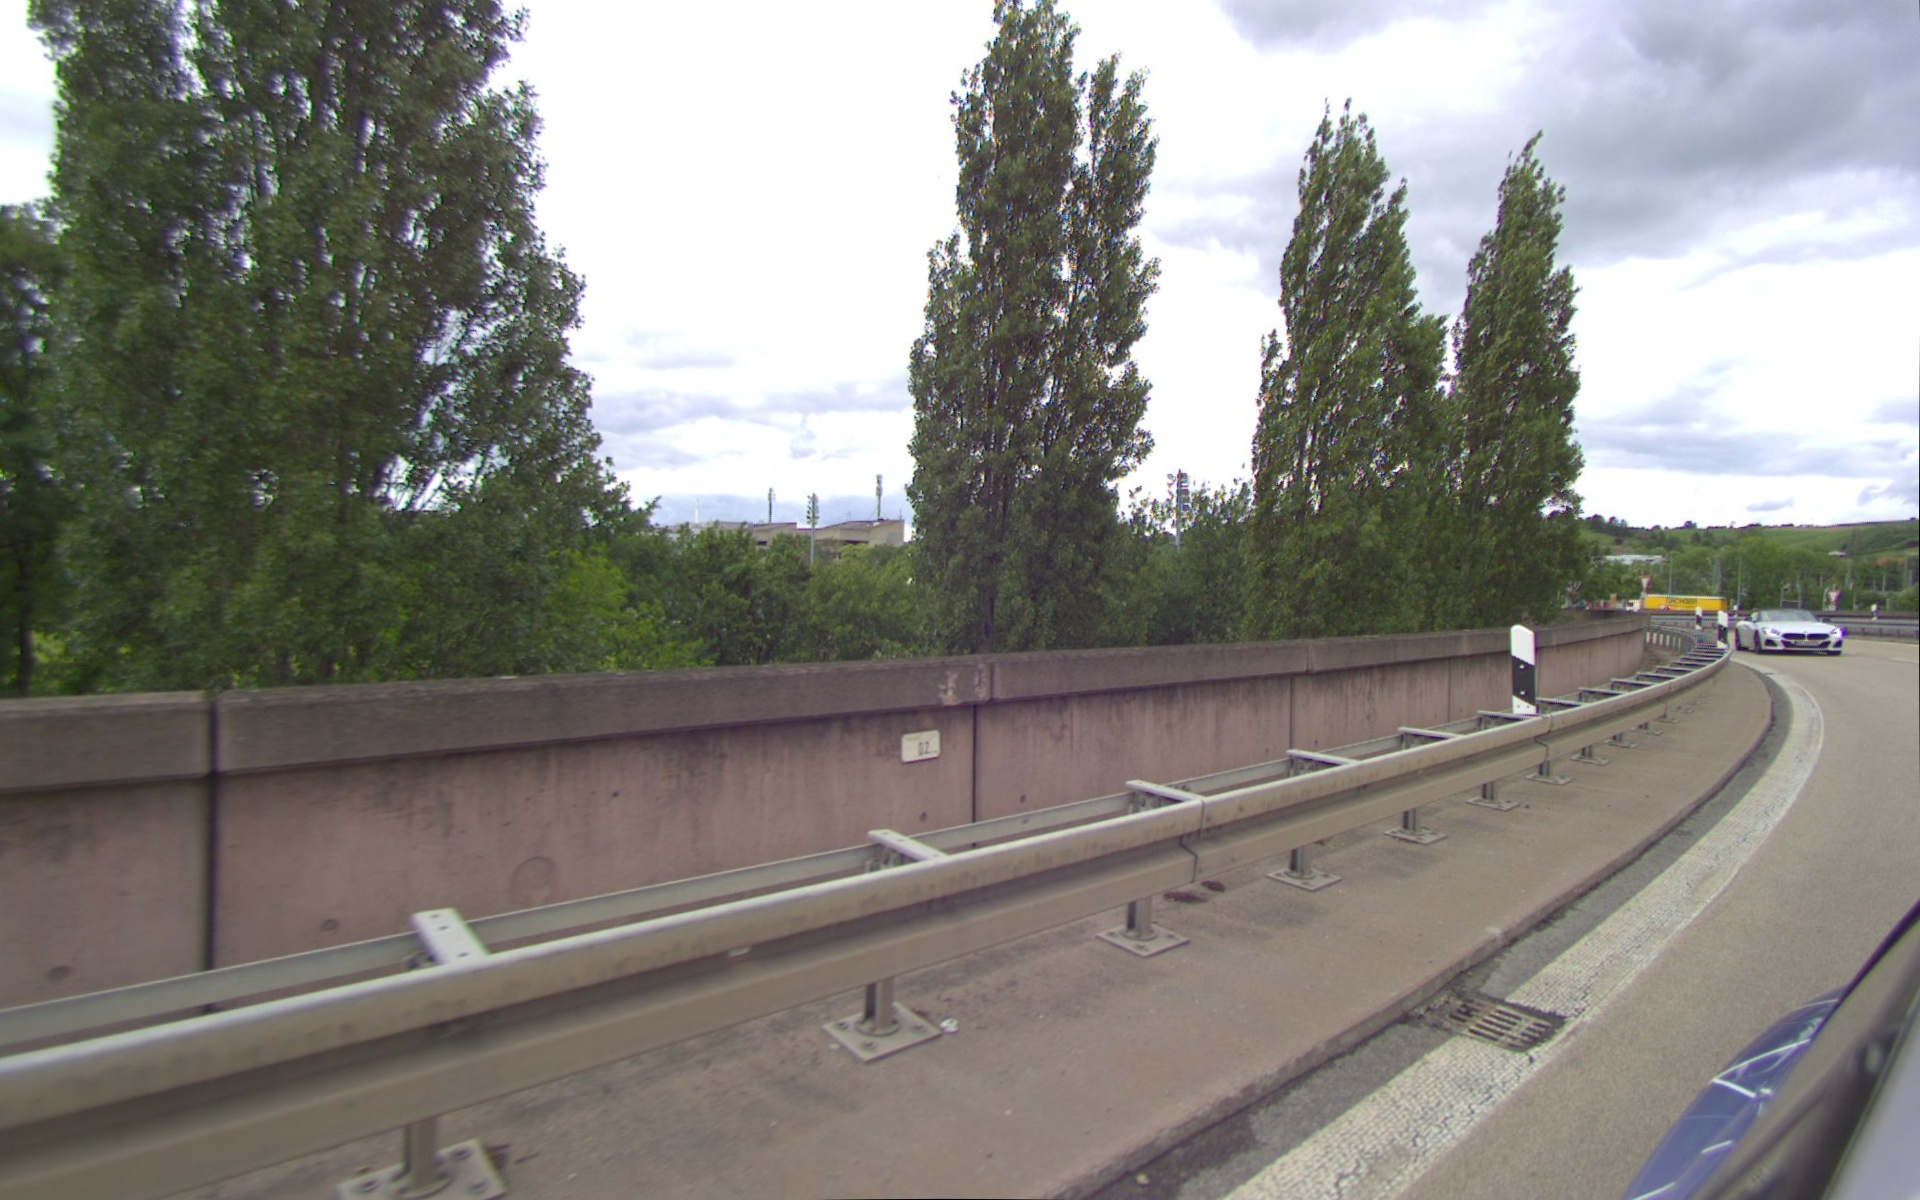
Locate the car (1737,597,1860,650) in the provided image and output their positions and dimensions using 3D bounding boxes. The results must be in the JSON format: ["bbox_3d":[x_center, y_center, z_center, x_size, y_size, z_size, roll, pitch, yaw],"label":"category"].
[{"bbox_3d":[24.154,0.618,29.348,1.847,1.361,4.776,0,1,29],"label":"car"}]

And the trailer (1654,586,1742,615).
[{"bbox_3d":[122.224,-0.037,167.855,2.583,4.255,11.672,0,3,-31],"label":"trailer"}]

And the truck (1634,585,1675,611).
[{"bbox_3d":[118.965,-0.367,173.319,2.583,4.255,5.109,0,3,-31],"label":"truck"}]
